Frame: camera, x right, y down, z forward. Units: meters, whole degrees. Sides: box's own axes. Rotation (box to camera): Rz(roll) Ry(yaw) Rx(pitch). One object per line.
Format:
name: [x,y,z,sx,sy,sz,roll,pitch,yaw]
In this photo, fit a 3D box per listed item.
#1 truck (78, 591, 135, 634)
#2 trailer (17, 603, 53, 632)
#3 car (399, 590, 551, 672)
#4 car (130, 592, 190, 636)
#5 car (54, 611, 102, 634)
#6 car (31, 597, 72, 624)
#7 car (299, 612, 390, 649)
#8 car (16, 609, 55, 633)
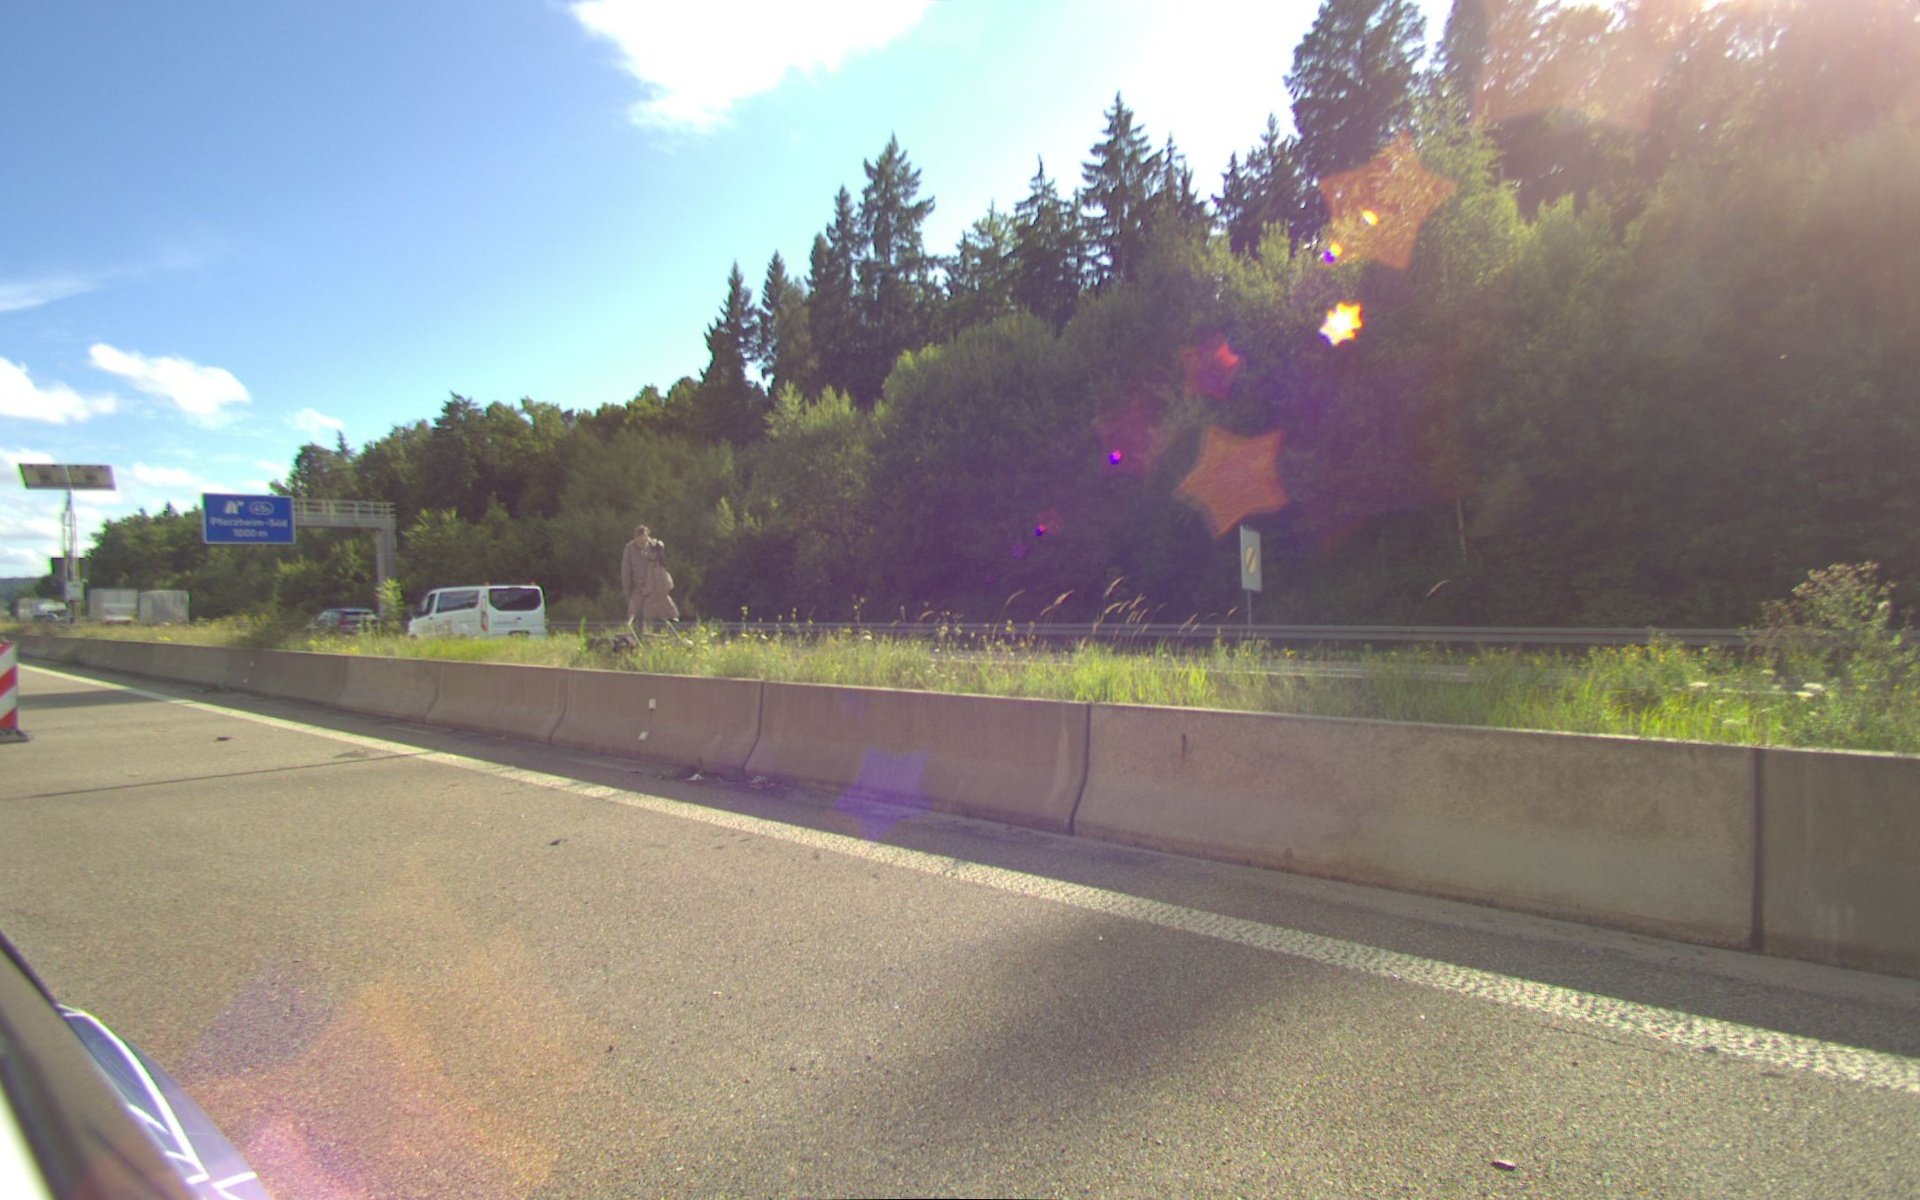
truck: [-84.289,1.286,99.856,10.181,4.022,2.771,-1,0,41]
trailer: [-129.890,2.413,142.088,8.484,3.953,2.762,-1,0,41]
car: [-13.153,0.794,27.312,4.829,2.029,1.973,-1,0,41]
car: [-65.377,1.119,82.624,7.448,3.395,2.461,-1,0,41]
car: [-57.051,1.418,65.441,4.309,1.398,1.760,-1,0,42]
car: [-86.221,1.008,96.013,6.329,2.470,2.138,-1,0,41]
car: [-24.535,1.181,40.289,4.286,1.373,1.938,-1,0,41]
car: [-75.086,1.674,82.178,4.117,1.826,1.924,-1,0,41]
